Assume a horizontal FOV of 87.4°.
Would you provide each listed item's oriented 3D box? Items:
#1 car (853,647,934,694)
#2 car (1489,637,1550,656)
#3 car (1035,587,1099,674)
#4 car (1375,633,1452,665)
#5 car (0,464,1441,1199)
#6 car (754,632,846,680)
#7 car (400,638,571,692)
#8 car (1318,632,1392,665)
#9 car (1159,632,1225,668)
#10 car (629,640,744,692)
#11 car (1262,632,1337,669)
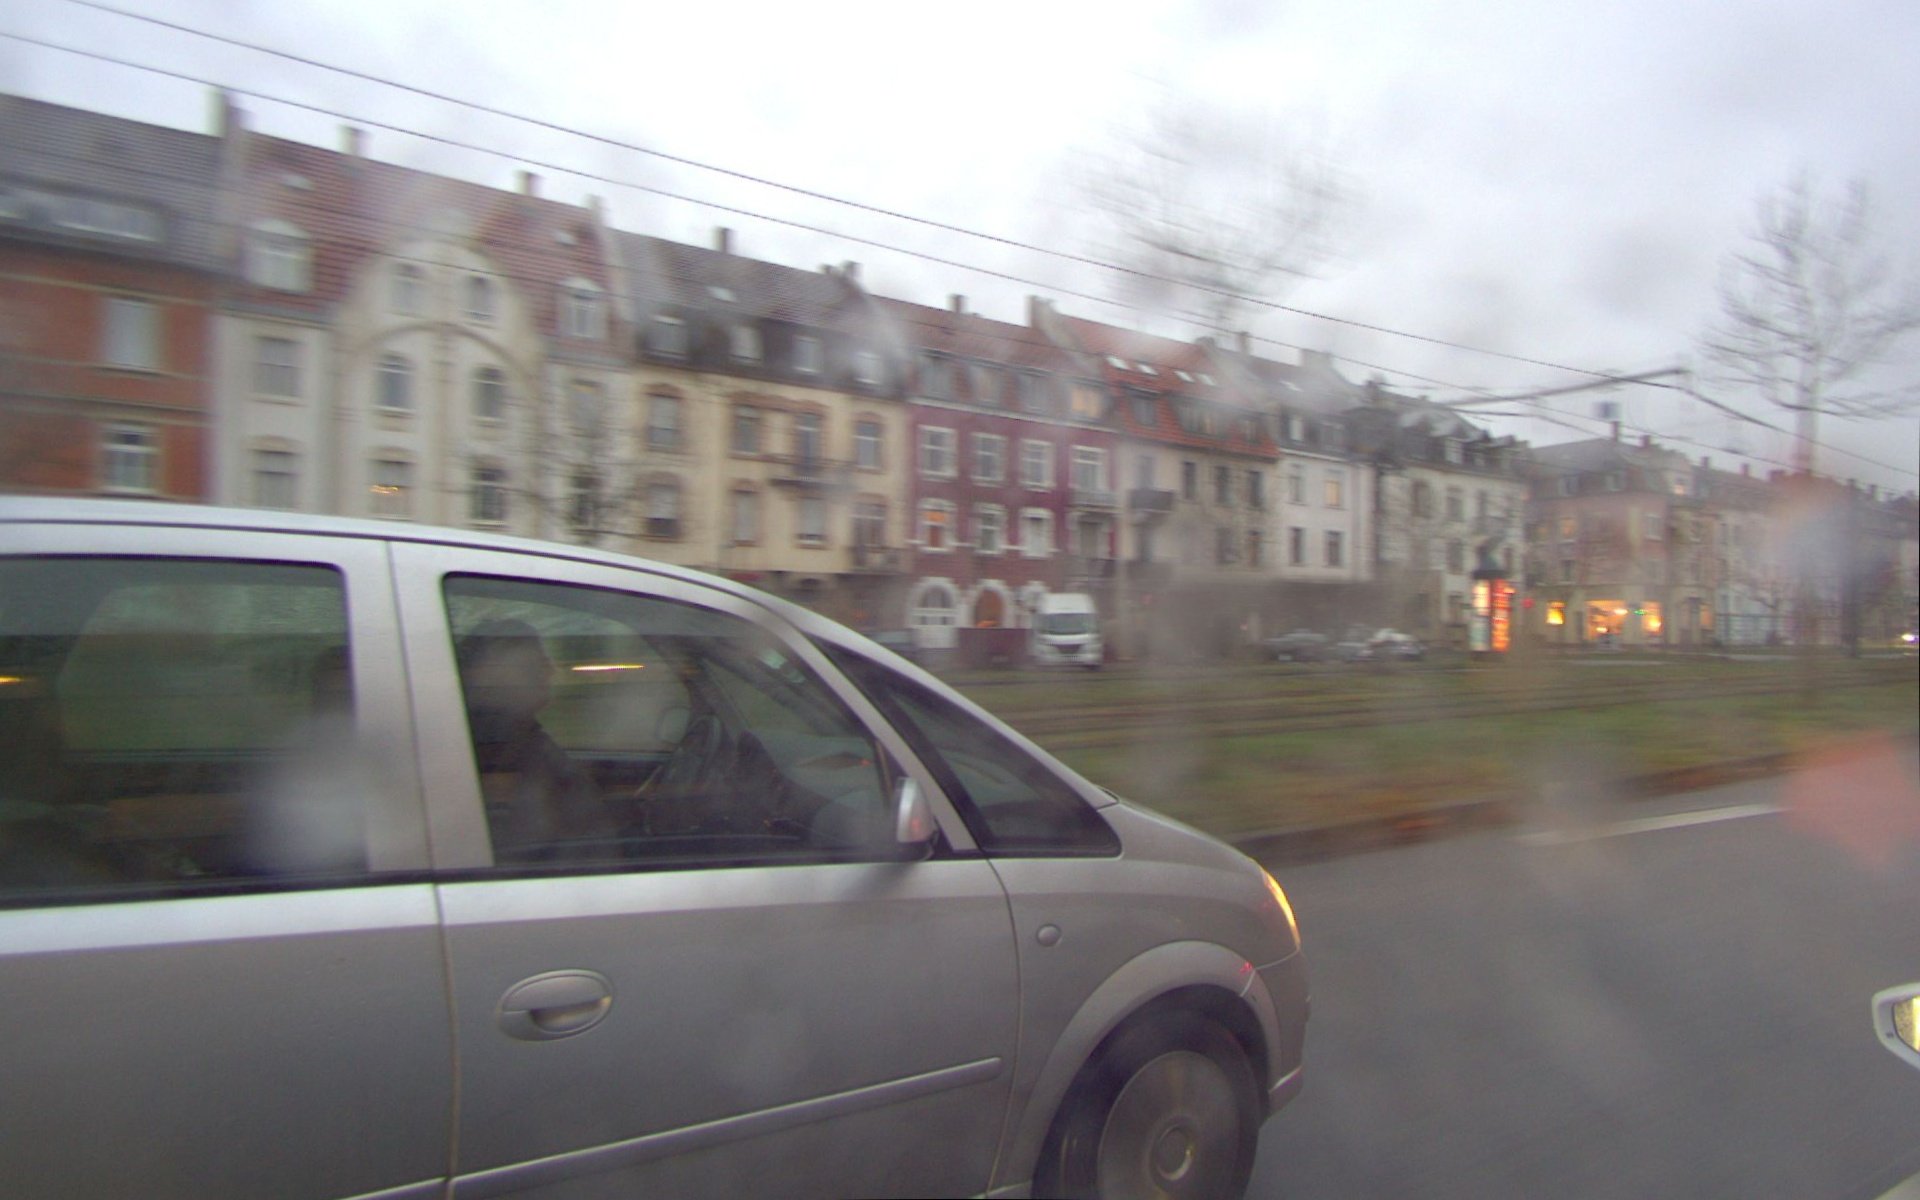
[{"bbox_3d":[-2.036,2.185,31.734,1.960,1.349,4.003,0,-2,5],"label":"car"},{"bbox_3d":[46.017,3.777,82.596,1.982,1.439,3.957,1,-1,-38],"label":"car"},{"bbox_3d":[3.909,1.099,35.896,1.959,2.834,5.872,0,-2,9],"label":"car"},{"bbox_3d":[20.420,2.193,45.373,1.960,1.349,4.003,0,-2,5],"label":"car"},{"bbox_3d":[-0.925,0.673,2.332,4.007,1.621,1.800,1,-1,-31],"label":"car"},{"bbox_3d":[-4.702,1.638,30.050,1.960,1.349,4.002,0,-2,2],"label":"car"},{"bbox_3d":[-11.379,1.535,24.416,1.959,1.184,4.003,0,-2,6],"label":"car"},{"bbox_3d":[17.211,2.095,43.934,1.960,1.349,4.003,0,-2,5],"label":"car"},{"bbox_3d":[9.018,1.926,39.373,1.960,1.349,4.003,0,-2,5],"label":"car"},{"bbox_3d":[-7.630,1.809,28.426,1.960,1.349,4.002,0,-2,3],"label":"car"},{"bbox_3d":[14.360,2.111,42.719,1.960,1.505,4.002,0,-2,2],"label":"car"}]
